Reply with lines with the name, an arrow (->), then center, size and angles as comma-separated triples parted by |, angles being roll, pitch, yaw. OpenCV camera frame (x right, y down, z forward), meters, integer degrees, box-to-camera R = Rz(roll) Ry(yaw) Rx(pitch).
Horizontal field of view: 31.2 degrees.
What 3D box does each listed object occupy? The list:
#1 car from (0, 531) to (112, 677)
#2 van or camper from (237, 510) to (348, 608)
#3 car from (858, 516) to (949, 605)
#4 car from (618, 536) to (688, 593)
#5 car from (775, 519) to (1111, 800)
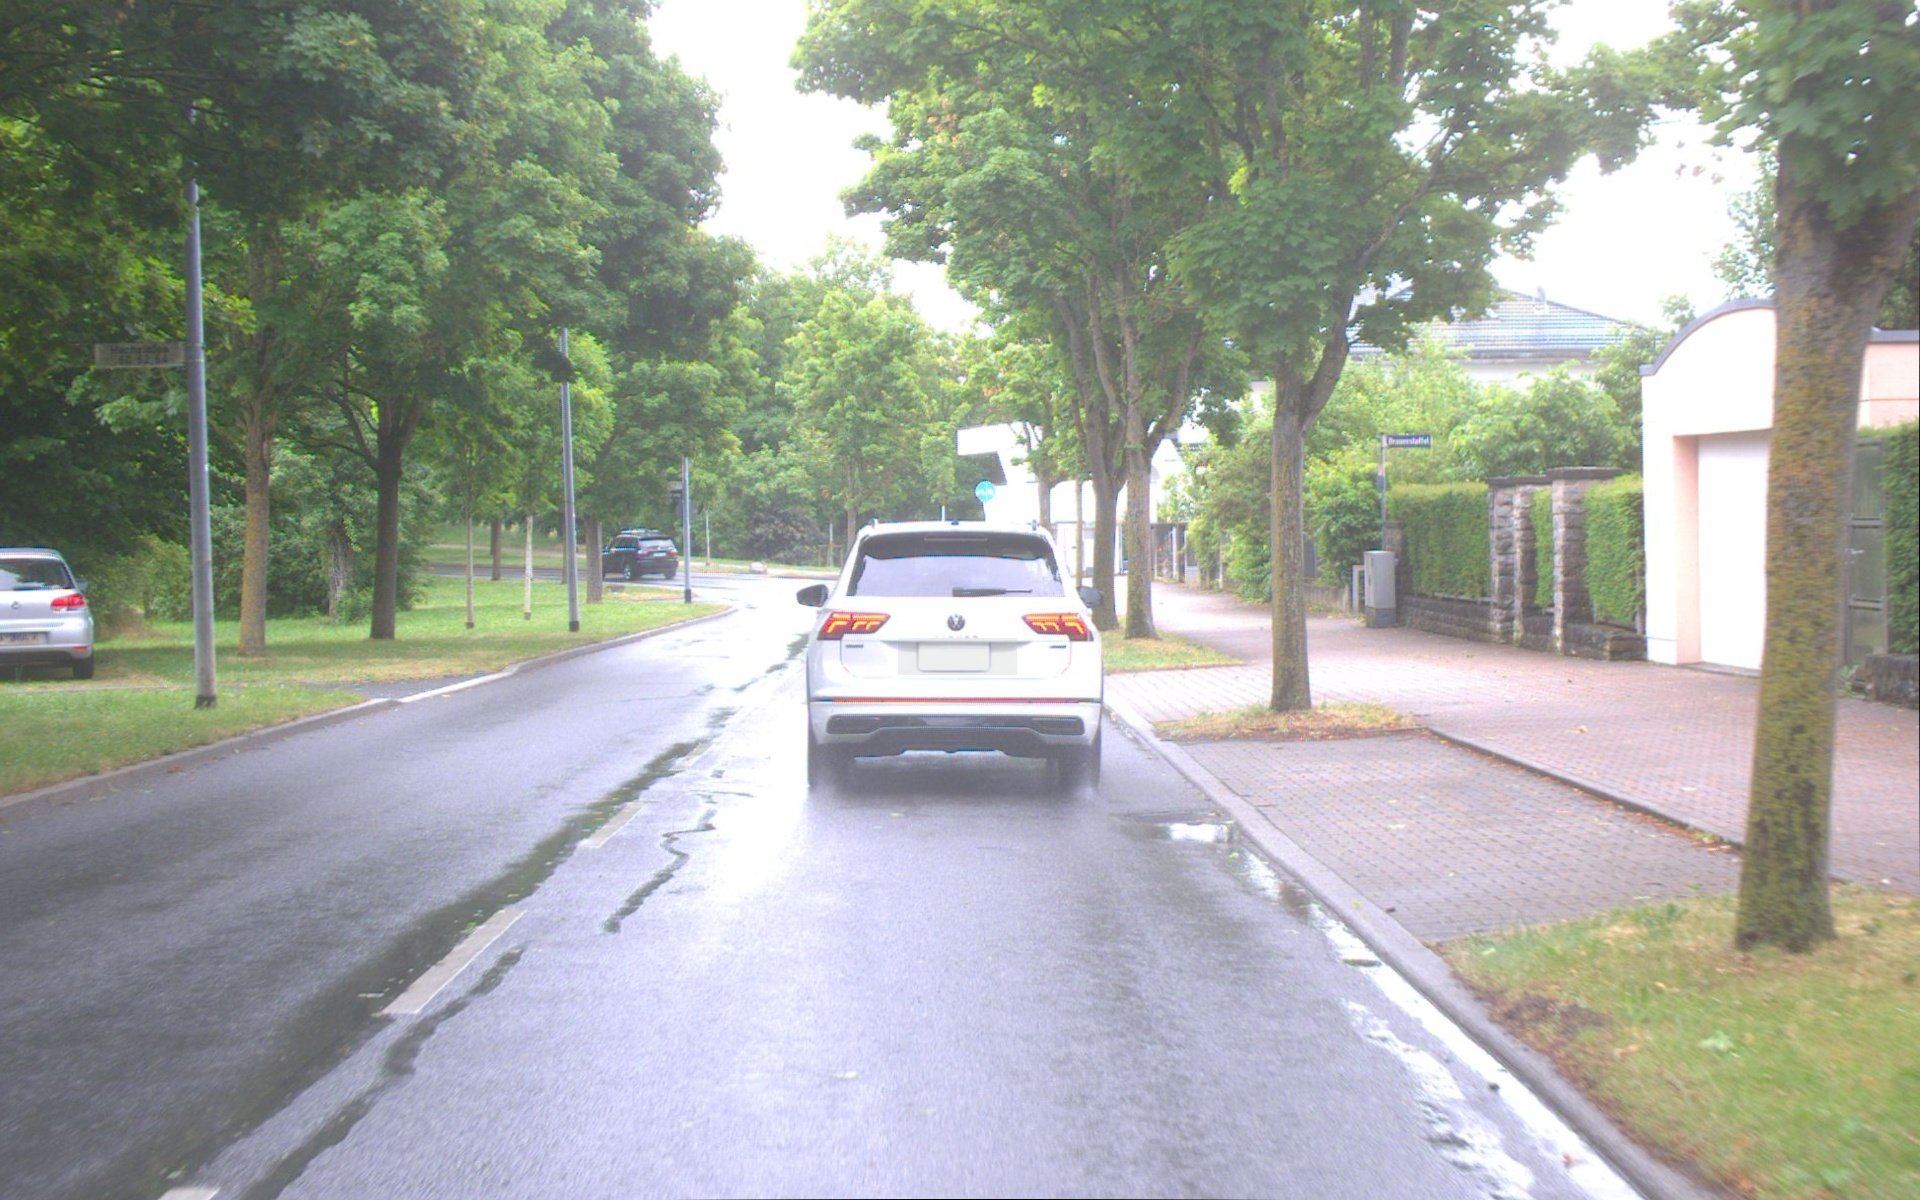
car -> -10.910, 0.012, 39.603 | 1.880, 1.425, 4.219 | -2, 4, -18
van or camper -> -17.181, -1.081, 88.766 | 2.384, 2.352, 6.813 | -2, 1, -8
car -> -1.369, -0.939, 81.110 | 1.901, 2.007, 3.945 | 1, 1, -4
car -> -11.041, -1.290, 123.499 | 1.900, 2.007, 3.946 | 1, 1, -14
car -> -0.091, 0.307, 22.366 | 1.974, 1.647, 4.177 | 0, 1, 0
